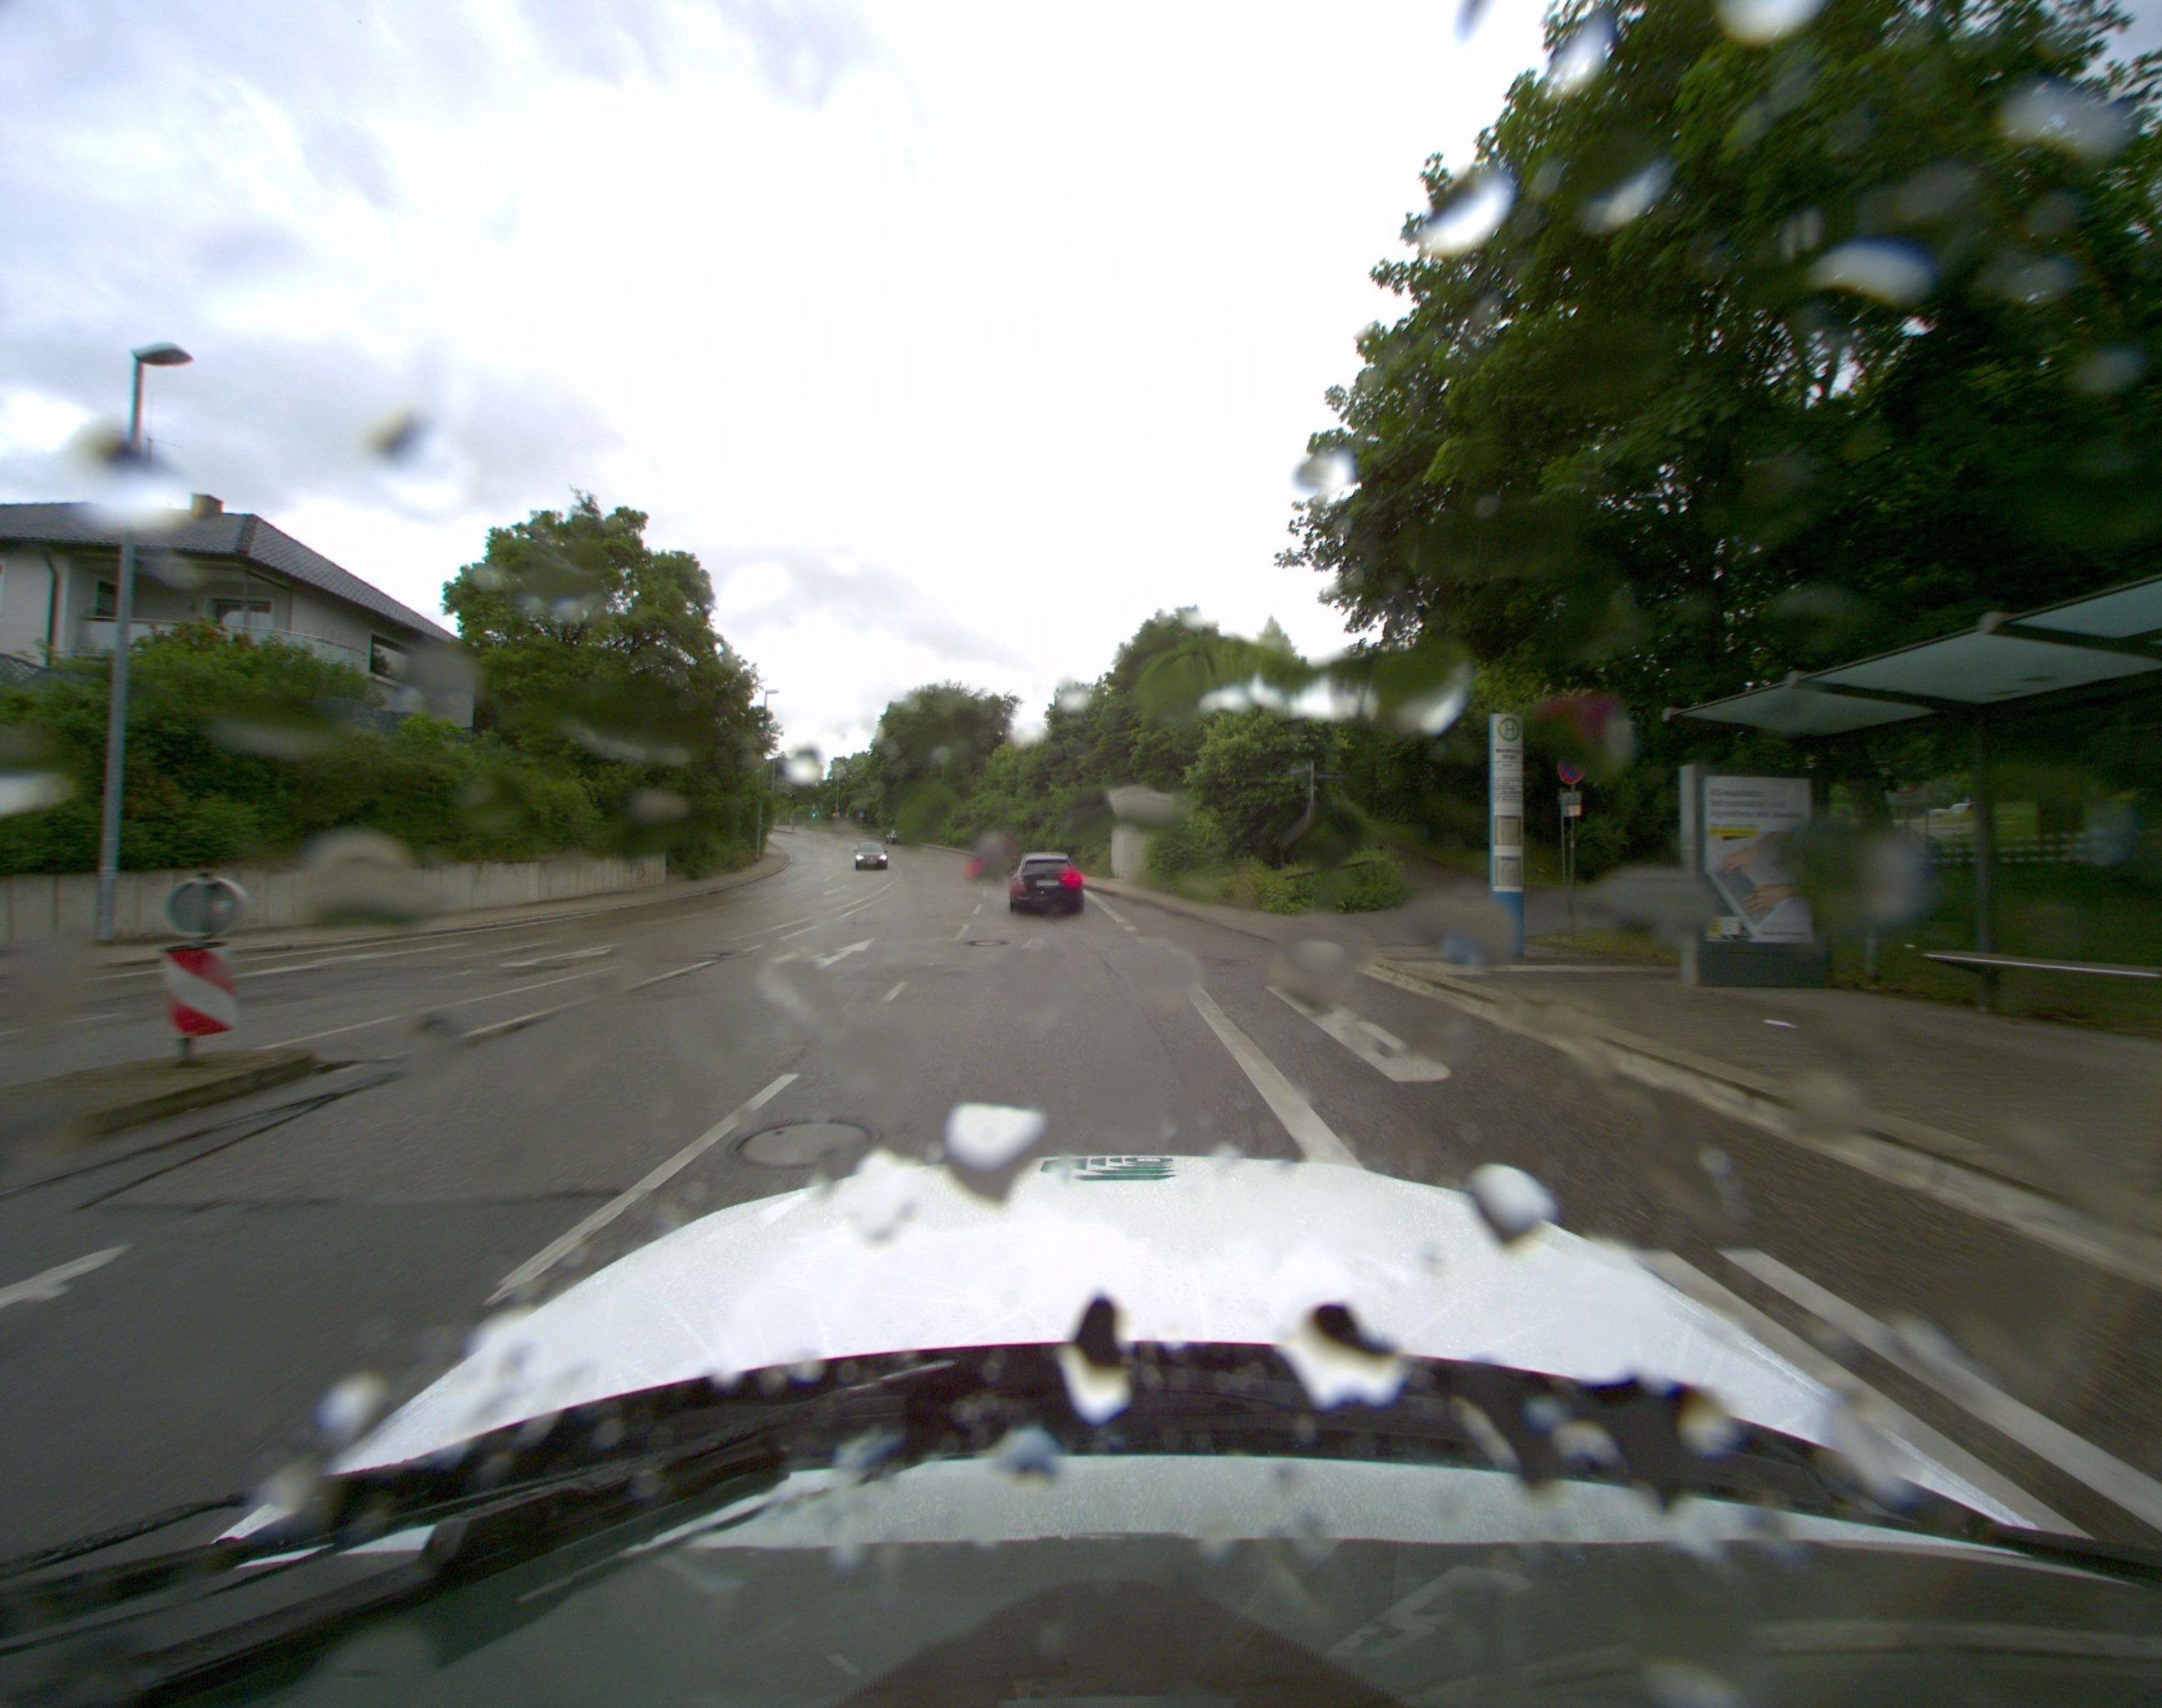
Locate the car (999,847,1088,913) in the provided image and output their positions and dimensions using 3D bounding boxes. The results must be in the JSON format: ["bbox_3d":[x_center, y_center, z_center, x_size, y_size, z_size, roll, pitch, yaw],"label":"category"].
[{"bbox_3d":[-1.134,0.623,22.258,1.992,1.586,4.650,1,0,-8],"label":"car"}]

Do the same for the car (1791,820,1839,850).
[{"bbox_3d":[46.761,-1.165,51.883,4.022,1.596,1.975,3,-4,-44],"label":"car"}]

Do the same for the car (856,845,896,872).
[{"bbox_3d":[-11.859,0.256,47.285,1.892,1.487,4.219,-1,0,-10],"label":"car"}]

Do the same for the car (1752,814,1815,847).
[{"bbox_3d":[40.371,-1.328,46.799,4.019,1.596,1.977,2,-4,-39],"label":"car"}]

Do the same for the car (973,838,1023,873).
[{"bbox_3d":[-4.468,0.043,43.176,1.997,1.748,3.979,0,0,-16],"label":"car"}]

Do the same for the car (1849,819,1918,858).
[{"bbox_3d":[35.479,-0.672,35.961,4.021,1.621,1.833,-1,0,-41],"label":"car"}]

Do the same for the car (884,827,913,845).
[{"bbox_3d":[-18.404,-1.783,82.192,1.862,1.662,3.964,1,-1,-28],"label":"car"}]
